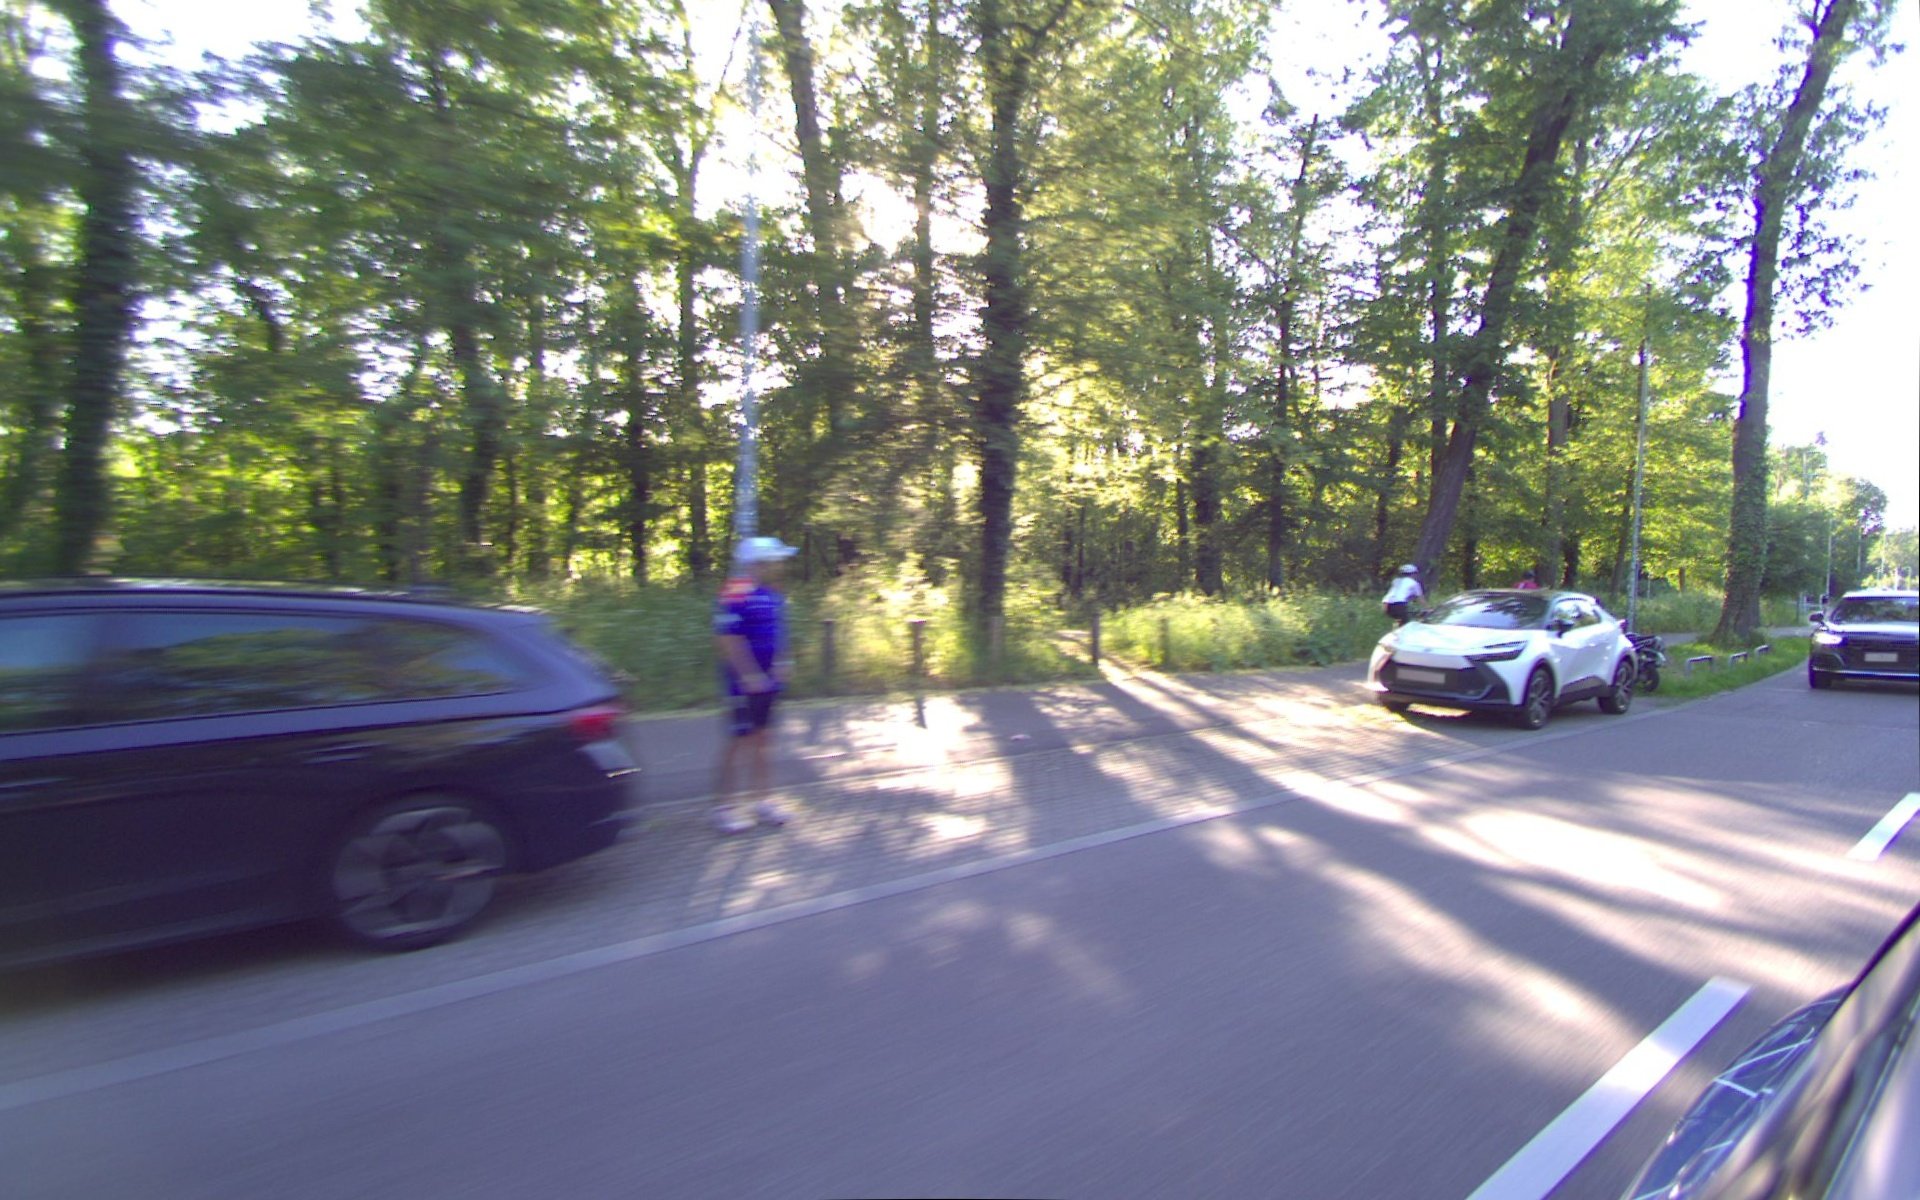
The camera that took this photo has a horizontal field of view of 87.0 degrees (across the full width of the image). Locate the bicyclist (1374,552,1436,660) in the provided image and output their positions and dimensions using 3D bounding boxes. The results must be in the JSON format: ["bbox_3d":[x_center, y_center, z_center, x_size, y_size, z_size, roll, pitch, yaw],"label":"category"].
[{"bbox_3d":[7.387,0.089,16.802,0.820,1.737,0.597,0,1,-40],"label":"bicyclist"}]

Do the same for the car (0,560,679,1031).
[{"bbox_3d":[-3.608,0.602,3.969,4.453,1.452,1.858,0,3,-40],"label":"car"}]

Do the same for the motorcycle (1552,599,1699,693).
[{"bbox_3d":[10.211,0.667,15.563,0.758,1.269,1.735,-1,3,-44],"label":"motorcycle"}]

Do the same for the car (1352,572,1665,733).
[{"bbox_3d":[6.954,0.531,12.655,4.376,1.579,1.812,0,4,-39],"label":"car"}]

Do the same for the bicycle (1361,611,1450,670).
[{"bbox_3d":[7.434,0.652,16.854,1.898,0.894,0.593,0,2,-41],"label":"bicycle"}]

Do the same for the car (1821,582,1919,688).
[{"bbox_3d":[16.137,0.522,17.325,1.857,1.638,3.936,2,2,44],"label":"car"}]

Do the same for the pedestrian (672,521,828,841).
[{"bbox_3d":[-1.249,0.434,6.060,0.510,1.778,0.726,3,2,36],"label":"pedestrian"}]

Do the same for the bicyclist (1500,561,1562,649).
[{"bbox_3d":[10.750,0.070,19.051,0.861,1.580,0.703,-1,4,-41],"label":"bicyclist"}]
